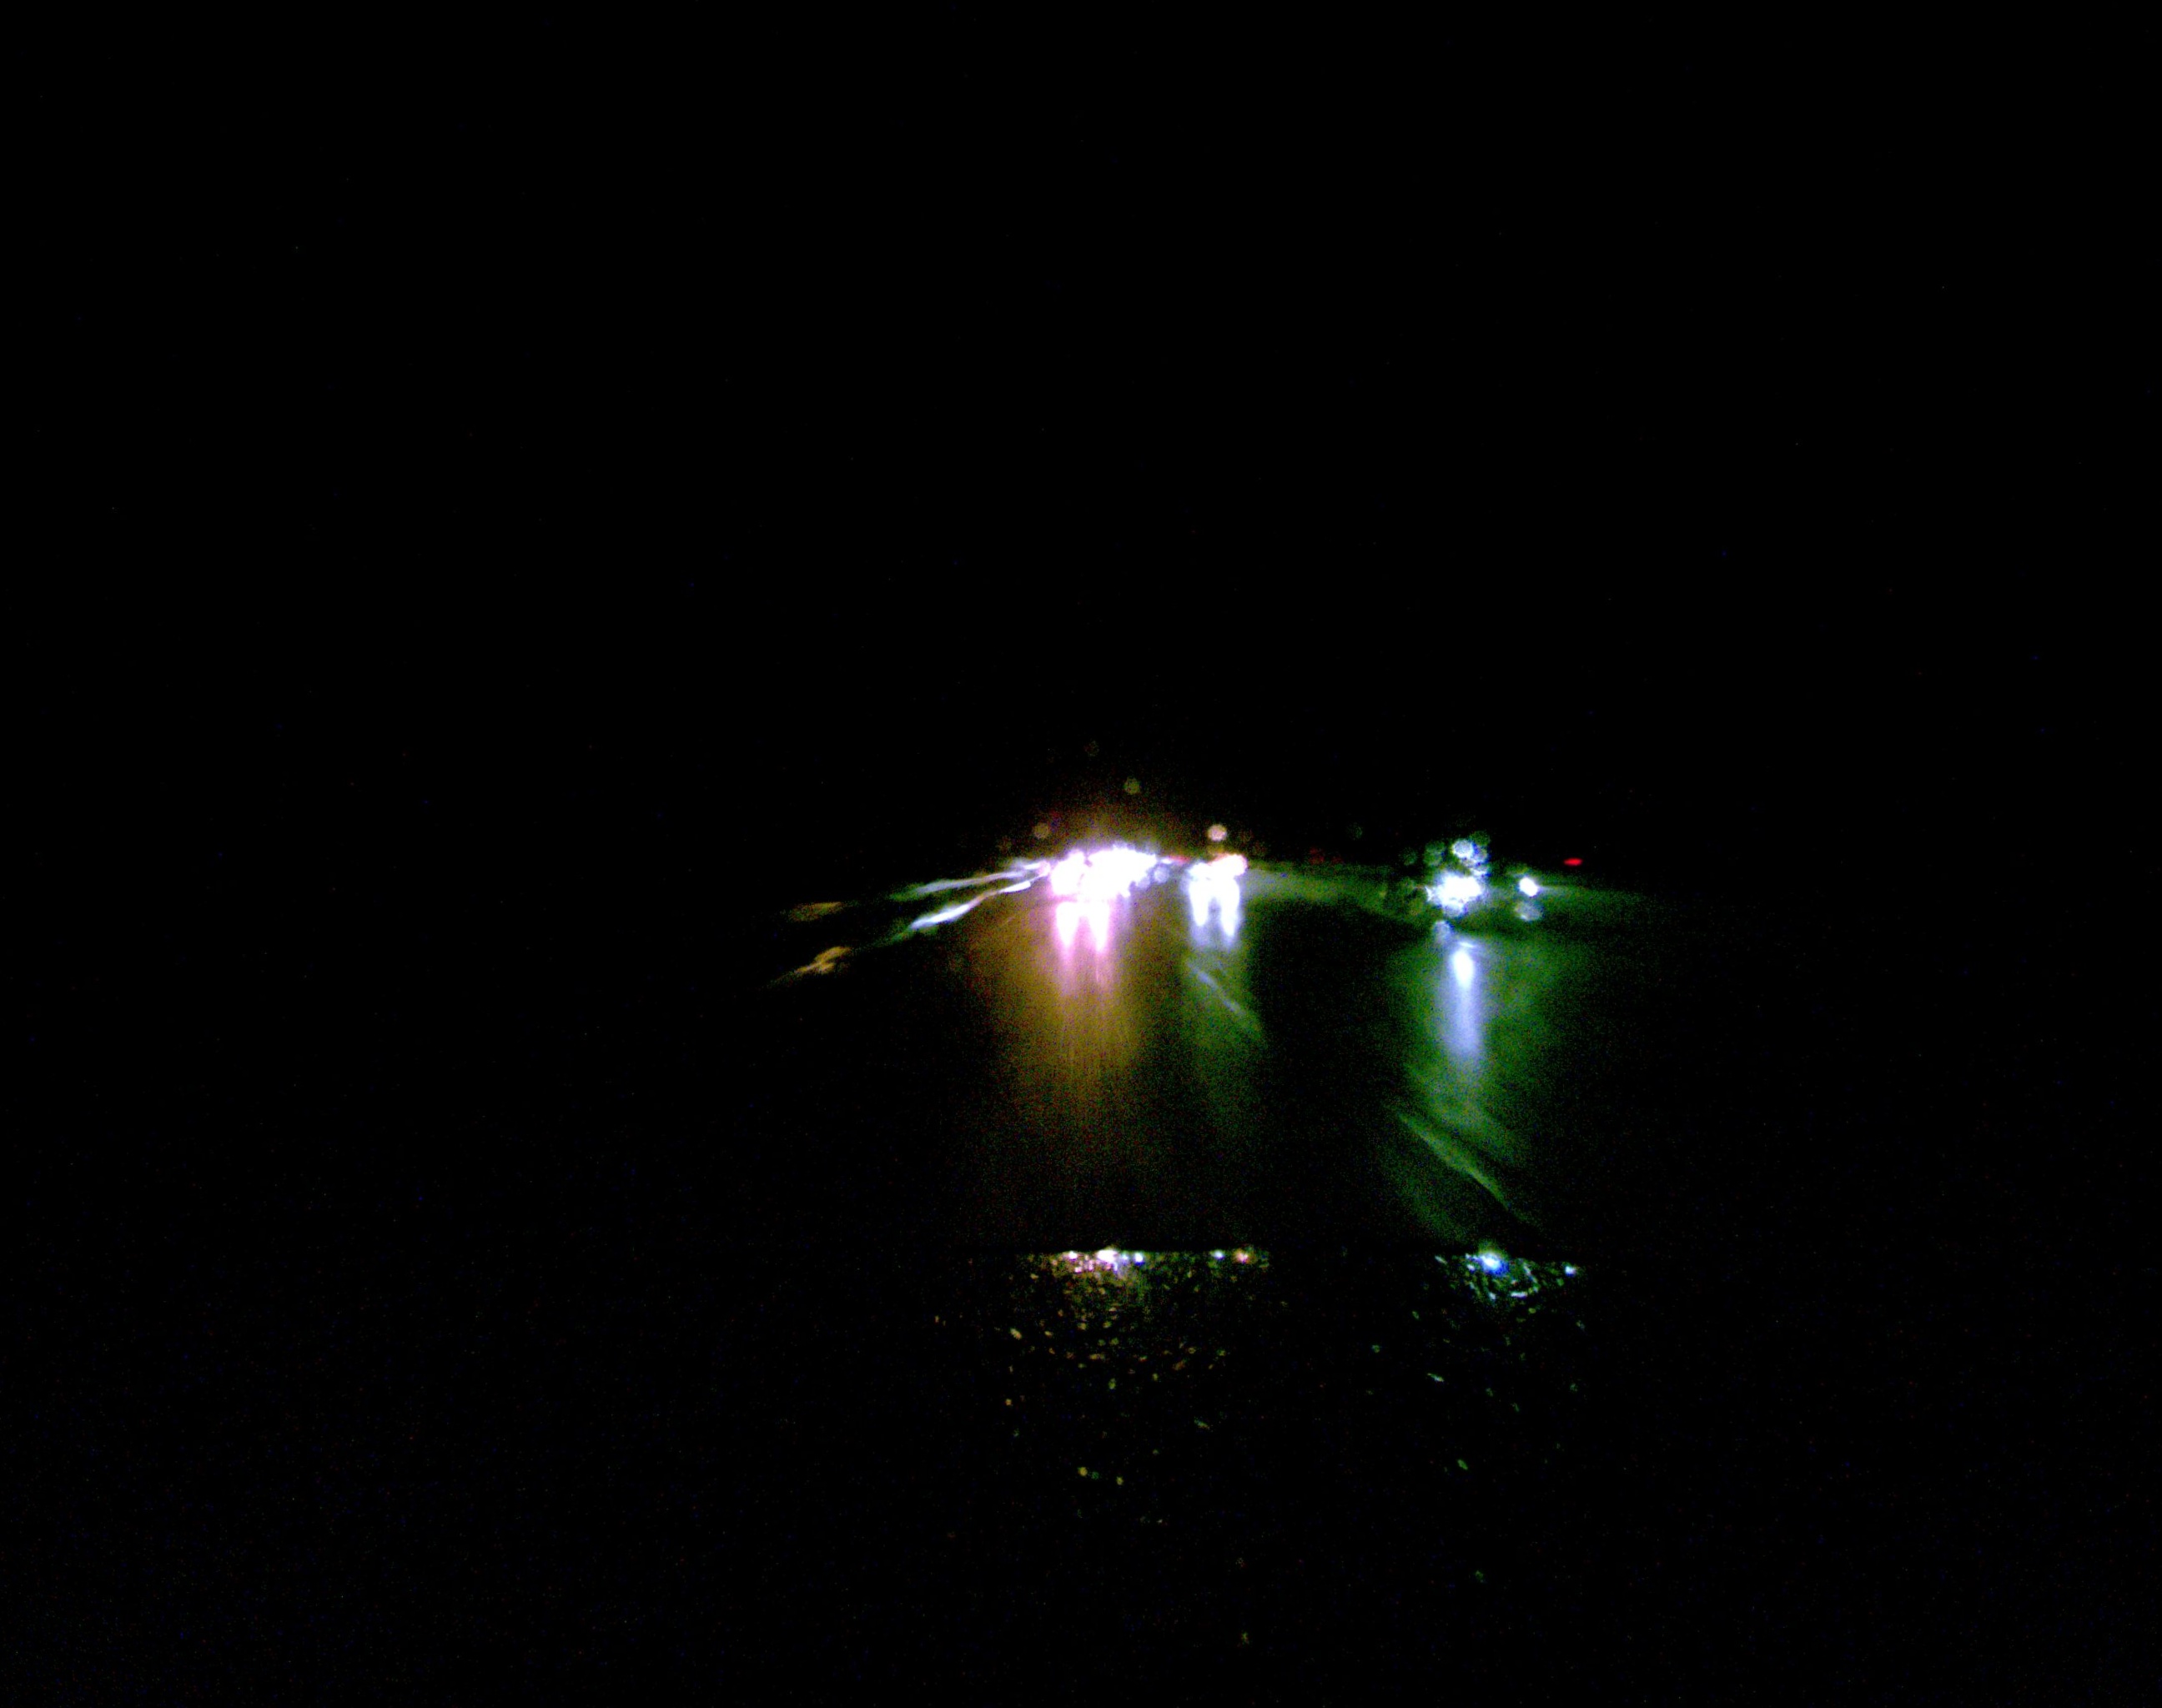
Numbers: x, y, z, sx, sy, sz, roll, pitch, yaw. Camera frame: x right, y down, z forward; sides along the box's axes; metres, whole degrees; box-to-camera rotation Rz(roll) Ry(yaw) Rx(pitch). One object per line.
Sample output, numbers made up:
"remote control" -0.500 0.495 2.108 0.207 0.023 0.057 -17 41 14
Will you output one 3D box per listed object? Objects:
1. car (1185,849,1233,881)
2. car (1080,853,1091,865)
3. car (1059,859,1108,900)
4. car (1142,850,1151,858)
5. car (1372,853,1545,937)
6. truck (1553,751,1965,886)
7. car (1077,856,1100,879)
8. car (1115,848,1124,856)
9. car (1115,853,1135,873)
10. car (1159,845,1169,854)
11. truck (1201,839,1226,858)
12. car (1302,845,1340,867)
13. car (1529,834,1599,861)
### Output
"car" 7.428 0.633 44.532 1.960 1.655 4.916 -2 0 1
"car" 0.737 0.846 120.932 1.611 1.775 3.910 -2 0 1
"car" 0.158 0.978 30.757 1.774 1.449 4.196 -2 0 2
"car" 13.024 -0.029 151.567 1.611 1.554 3.786 -2 0 1
"car" 7.597 0.739 15.783 1.660 1.422 4.247 -2 1 3
"truck" 28.475 -1.229 34.569 3.214 4.434 17.491 -2 0 1
"car" 0.623 1.075 62.097 1.792 1.681 4.000 -2 0 1
"car" 8.709 -0.435 170.591 1.800 1.727 4.000 -2 0 1
"car" 4.103 0.828 71.342 1.611 1.775 3.910 -2 0 1
"car" 17.741 -1.018 162.324 1.611 1.775 3.910 -2 0 1
"truck" 34.094 -1.313 196.115 3.418 4.532 17.599 -2 0 1
"car" 20.457 0.142 64.999 1.838 1.714 4.508 -2 0 1
"car" 32.781 -0.445 51.742 1.838 1.714 4.508 -2 0 1
